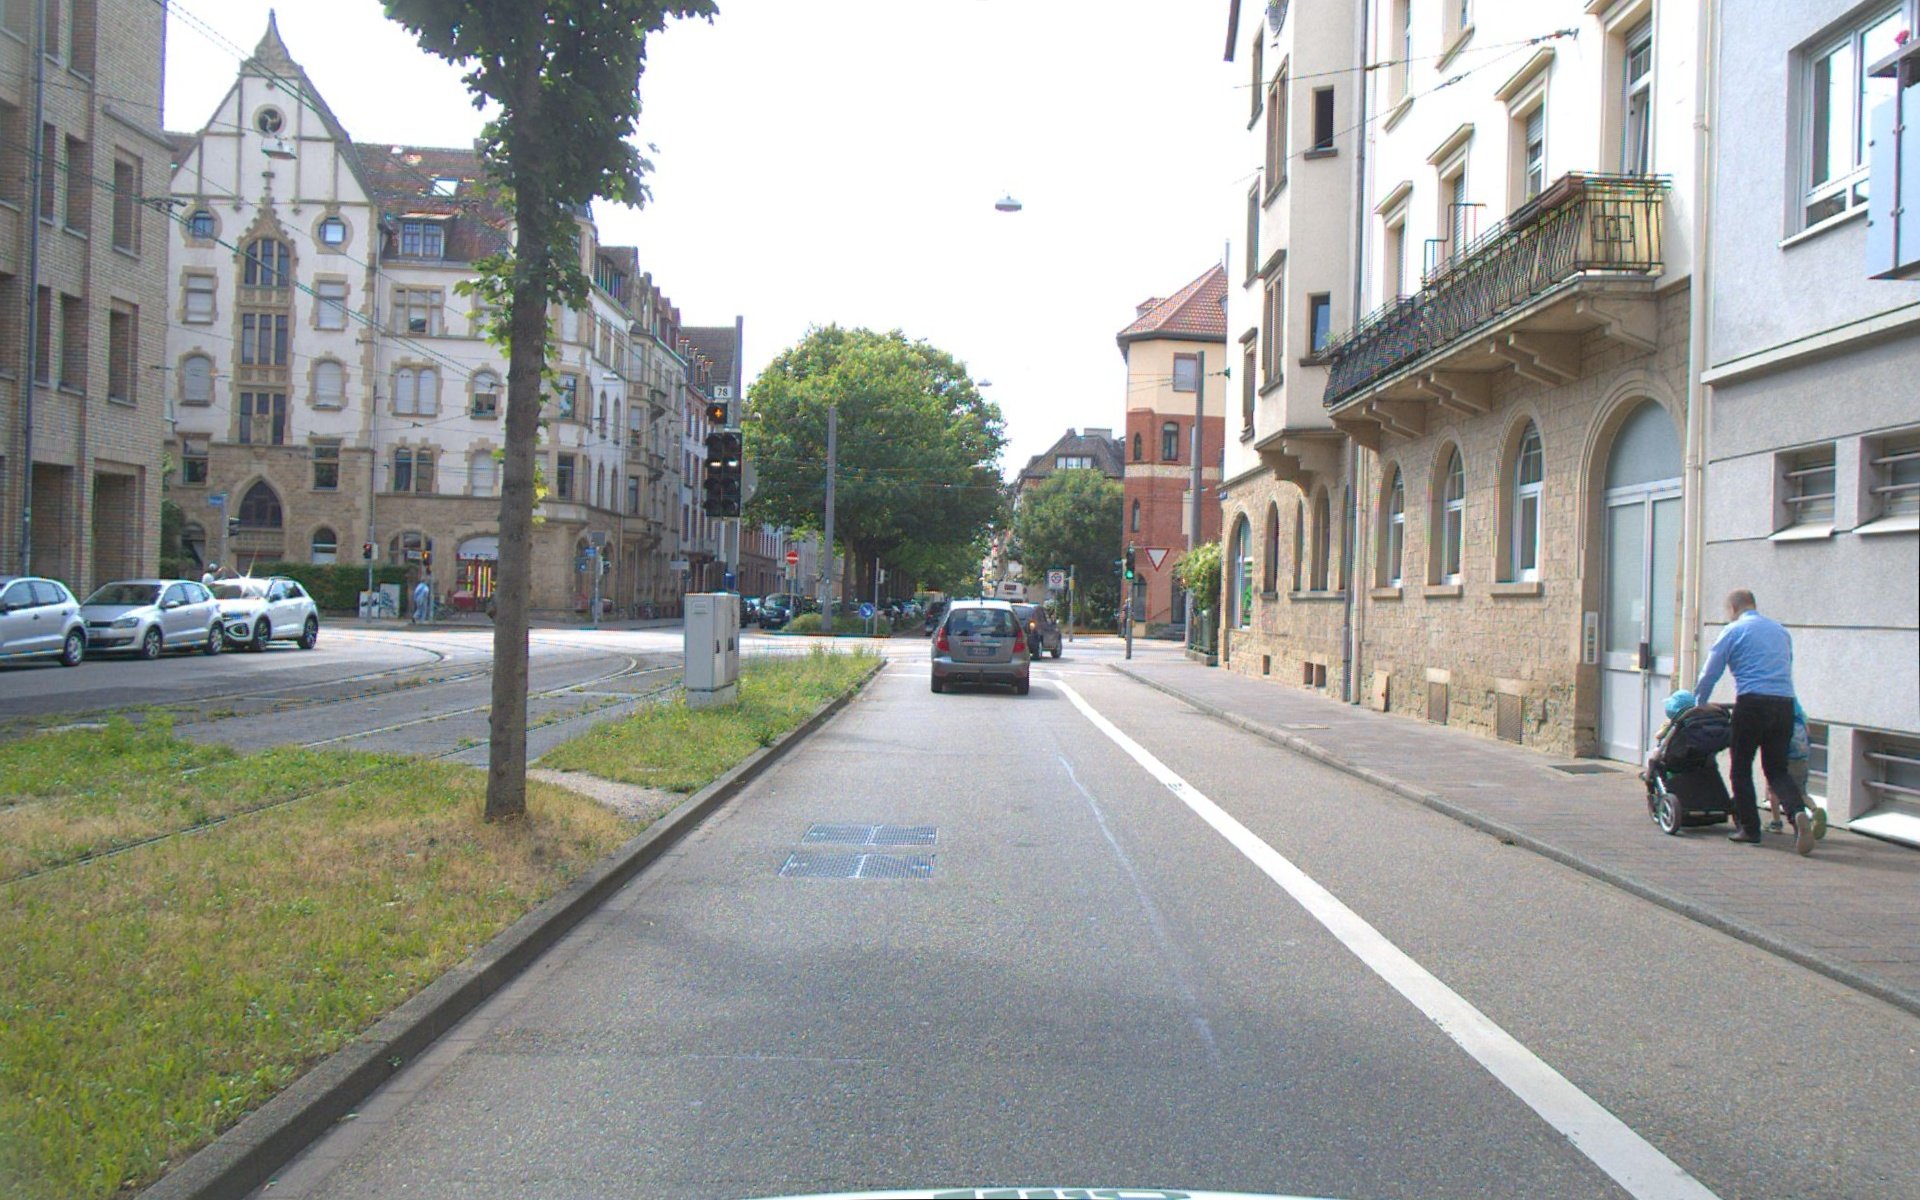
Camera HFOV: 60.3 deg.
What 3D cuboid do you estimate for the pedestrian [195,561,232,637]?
[{"bbox_3d":[-18.365,-0.018,40.693,0.750,1.827,0.953,2,-1,-25],"label":"pedestrian"}]

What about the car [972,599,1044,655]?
[{"bbox_3d":[1.350,0.742,47.222,1.939,1.467,4.000,2,0,1],"label":"car"}]

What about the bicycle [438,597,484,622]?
[{"bbox_3d":[-22.464,0.429,74.433,1.881,1.100,0.777,1,-1,-10],"label":"bicycle"}]

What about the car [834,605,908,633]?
[{"bbox_3d":[-4.686,0.977,86.786,1.955,1.362,3.945,2,0,-38],"label":"car"}]

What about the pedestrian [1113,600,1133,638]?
[{"bbox_3d":[7.535,0.876,76.508,0.850,1.685,0.737,1,0,5],"label":"pedestrian"}]

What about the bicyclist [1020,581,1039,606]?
[{"bbox_3d":[3.202,-0.300,75.947,0.818,1.101,1.401,1,0,4],"label":"bicyclist"}]

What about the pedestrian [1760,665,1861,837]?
[{"bbox_3d":[6.014,1.056,11.709,0.447,1.154,0.494,1,0,1],"label":"pedestrian"}]

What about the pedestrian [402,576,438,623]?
[{"bbox_3d":[-20.556,-0.009,62.976,1.016,1.752,0.764,2,-1,-44],"label":"pedestrian"}]

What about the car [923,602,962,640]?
[{"bbox_3d":[-0.818,0.980,78.673,1.687,1.736,3.677,1,0,1],"label":"car"}]

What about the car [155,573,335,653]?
[{"bbox_3d":[-15.225,0.265,35.477,1.893,1.562,4.258,1,0,1],"label":"car"}]

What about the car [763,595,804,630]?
[{"bbox_3d":[-9.109,0.630,85.537,1.954,1.758,3.996,1,0,-5],"label":"car"}]

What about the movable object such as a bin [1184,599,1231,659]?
[{"bbox_3d":[6.701,0.779,44.875,1.028,1.566,2.100,1,0,2],"label":"movable object such as a bin"}]

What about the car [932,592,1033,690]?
[{"bbox_3d":[0.425,0.707,29.929,1.687,1.634,3.677,1,0,1],"label":"car"}]

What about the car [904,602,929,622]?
[{"bbox_3d":[-3.398,0.925,129.279,1.716,1.543,3.499,2,0,1],"label":"car"}]

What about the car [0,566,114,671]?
[{"bbox_3d":[-15.162,0.258,25.626,1.813,1.557,4.211,1,0,1],"label":"car"}]

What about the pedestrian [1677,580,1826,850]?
[{"bbox_3d":[5.388,0.755,11.298,0.608,1.769,0.877,0,0,1],"label":"pedestrian"}]

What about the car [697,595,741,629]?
[{"bbox_3d":[-12.216,0.594,84.067,1.954,1.646,3.996,1,0,-5],"label":"car"}]

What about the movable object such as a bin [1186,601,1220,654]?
[{"bbox_3d":[6.943,0.769,47.231,0.701,1.497,0.980,1,-1,-8],"label":"movable object such as a bin"}]

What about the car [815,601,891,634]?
[{"bbox_3d":[-5.460,0.876,84.174,1.955,1.521,3.945,2,0,-38],"label":"car"}]

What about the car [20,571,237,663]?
[{"bbox_3d":[-15.361,0.292,30.806,1.893,1.557,4.015,1,0,1],"label":"car"}]

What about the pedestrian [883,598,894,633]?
[{"bbox_3d":[-3.560,0.762,81.984,0.483,1.755,0.654,2,0,-1],"label":"pedestrian"}]

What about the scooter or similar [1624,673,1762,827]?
[{"bbox_3d":[5.358,1.081,12.135,0.580,1.019,0.906,-3,0,1],"label":"scooter or similar"}]

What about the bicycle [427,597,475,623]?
[{"bbox_3d":[-22.162,0.421,72.052,1.881,1.100,0.777,1,-1,-10],"label":"bicycle"}]

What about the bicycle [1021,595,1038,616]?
[{"bbox_3d":[3.202,0.258,75.988,0.733,0.975,2.300,1,0,4],"label":"bicycle"}]

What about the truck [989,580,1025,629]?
[{"bbox_3d":[3.006,0.293,105.017,2.078,3.022,4.002,1,0,4],"label":"truck"}]
